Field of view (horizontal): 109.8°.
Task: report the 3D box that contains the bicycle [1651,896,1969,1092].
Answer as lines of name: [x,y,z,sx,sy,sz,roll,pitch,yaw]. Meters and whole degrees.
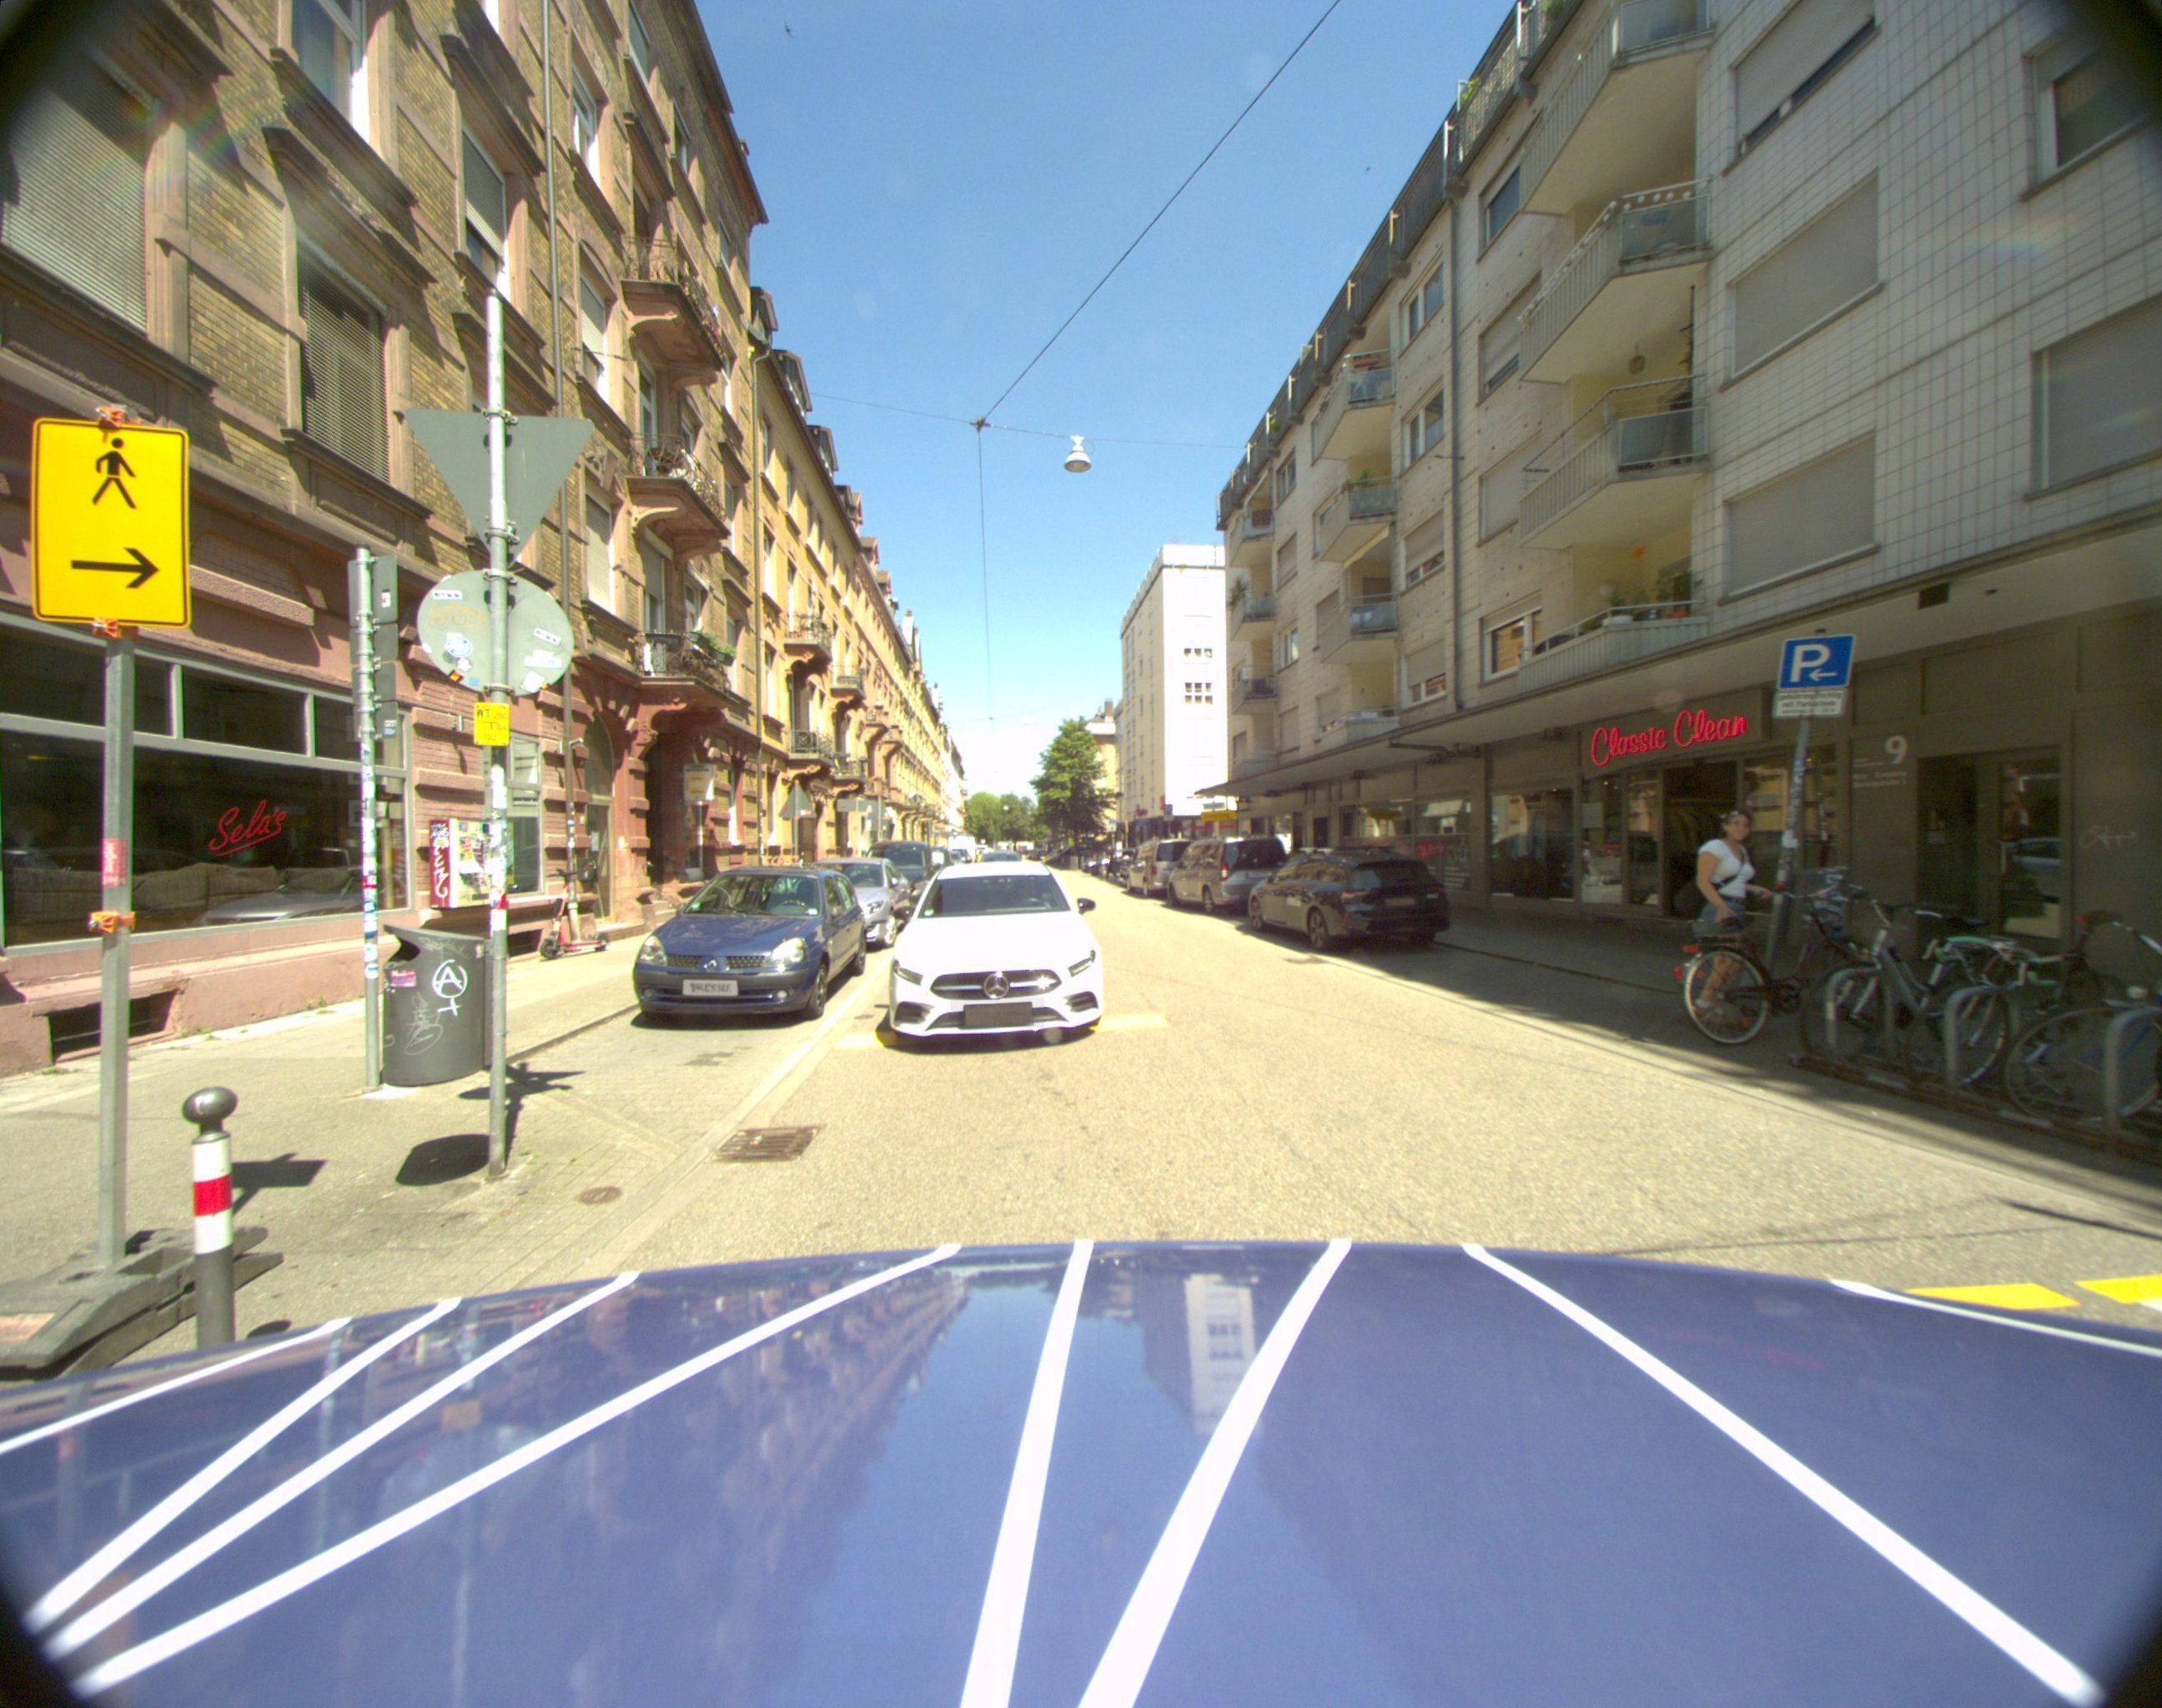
bicycle: [5.344,0.968,5.593,1.940,1.085,0.604,-6,0,-11]

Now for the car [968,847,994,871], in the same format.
car: [-6.924,0.330,52.429,1.682,1.528,3.996,-2,1,-8]

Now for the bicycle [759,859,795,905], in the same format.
bicycle: [-7.780,0.686,19.479,0.355,1.097,1.754,-1,1,-6]

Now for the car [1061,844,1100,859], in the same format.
car: [-0.051,-0.248,78.336,3.887,1.487,1.651,-1,1,-6]

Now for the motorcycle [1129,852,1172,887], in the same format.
motorcycle: [2.651,0.606,29.046,1.552,1.277,0.394,-1,3,27]

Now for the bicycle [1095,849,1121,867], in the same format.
bicycle: [1.765,0.286,49.247,1.609,1.084,0.371,-3,1,0]

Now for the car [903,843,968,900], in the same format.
car: [-4.781,0.510,25.461,1.707,1.724,3.997,-2,1,-5]

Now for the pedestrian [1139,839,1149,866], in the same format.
pedestrian: [4.847,-0.108,58.434,0.608,2.113,0.496,0,1,30]

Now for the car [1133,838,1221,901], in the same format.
car: [3.028,0.448,25.089,1.794,1.818,4.897,-2,1,-5]

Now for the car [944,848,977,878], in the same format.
car: [-6.524,0.446,41.337,1.603,1.454,3.686,-2,1,-8]

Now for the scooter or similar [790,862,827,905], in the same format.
scooter or similar: [-7.889,0.824,22.097,0.478,1.146,2.148,-1,1,-6]

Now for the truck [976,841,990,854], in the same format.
truck: [-15.795,-1.056,122.159,1.999,2.002,4.899,-1,1,-5]

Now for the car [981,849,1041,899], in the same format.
car: [-2.360,0.601,25.500,1.781,1.460,3.997,-3,1,-5]

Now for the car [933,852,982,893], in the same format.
car: [-4.997,0.705,30.502,1.767,1.441,3.901,-2,1,-11]

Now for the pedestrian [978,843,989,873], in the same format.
pedestrian: [-6.375,0.249,49.743,0.635,1.903,0.370,-1,1,-6]

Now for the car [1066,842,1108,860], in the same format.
car: [0.552,-0.292,72.832,3.887,1.737,1.651,-1,1,-6]

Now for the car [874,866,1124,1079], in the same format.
car: [-0.785,0.900,7.722,1.815,1.417,4.239,-1,1,-5]

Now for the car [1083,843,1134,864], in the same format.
car: [2.171,-0.051,60.291,3.887,1.520,1.651,-1,1,-6]

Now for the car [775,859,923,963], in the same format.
car: [-3.861,0.851,13.395,1.731,1.424,4.482,0,1,-7]

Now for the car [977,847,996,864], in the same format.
car: [-9.113,0.117,73.301,1.682,1.528,3.996,-2,1,-8]

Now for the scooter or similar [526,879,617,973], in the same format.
scooter or similar: [-7.028,0.958,10.545,0.293,1.170,1.272,-1,1,4]

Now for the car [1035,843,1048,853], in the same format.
car: [-6.573,-0.951,126.380,1.999,1.505,3.997,-3,1,-5]

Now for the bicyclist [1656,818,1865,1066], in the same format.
bicyclist: [5.151,0.628,5.793,0.979,1.696,0.624,-5,0,-11]

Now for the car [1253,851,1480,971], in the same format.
car: [4.321,0.747,12.359,1.675,1.516,4.461,-2,1,-5]

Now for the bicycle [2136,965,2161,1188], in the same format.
bicycle: [5.786,1.016,3.581,1.452,1.030,0.335,-3,2,-9]

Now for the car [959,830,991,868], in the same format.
car: [-8.079,-0.394,58.120,2.068,2.687,5.035,-3,1,-5]

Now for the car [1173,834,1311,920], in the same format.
car: [3.771,0.478,18.778,1.794,1.801,4.695,-2,1,-8]

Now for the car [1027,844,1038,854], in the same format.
car: [-9.505,-0.971,147.896,1.999,1.674,3.997,-3,1,-5]

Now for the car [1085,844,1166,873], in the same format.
car: [2.324,0.227,40.248,3.893,1.417,1.813,-1,1,-14]

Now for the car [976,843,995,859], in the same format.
car: [-8.347,-0.276,65.928,1.533,1.293,3.683,-2,1,-8]

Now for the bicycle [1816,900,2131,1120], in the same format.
bicycle: [5.573,0.926,4.764,1.589,1.133,0.526,-3,2,-9]

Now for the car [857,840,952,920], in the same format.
car: [-4.237,0.543,18.853,1.830,1.757,4.334,0,1,-7]

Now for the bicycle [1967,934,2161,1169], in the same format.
bicycle: [5.623,1.013,4.081,1.499,1.025,0.397,-3,2,-9]

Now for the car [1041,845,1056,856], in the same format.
car: [-4.741,-0.478,110.638,1.999,1.505,3.997,-3,1,-5]

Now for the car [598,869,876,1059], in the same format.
car: [-3.290,0.927,8.046,1.632,1.424,3.657,0,1,-7]
